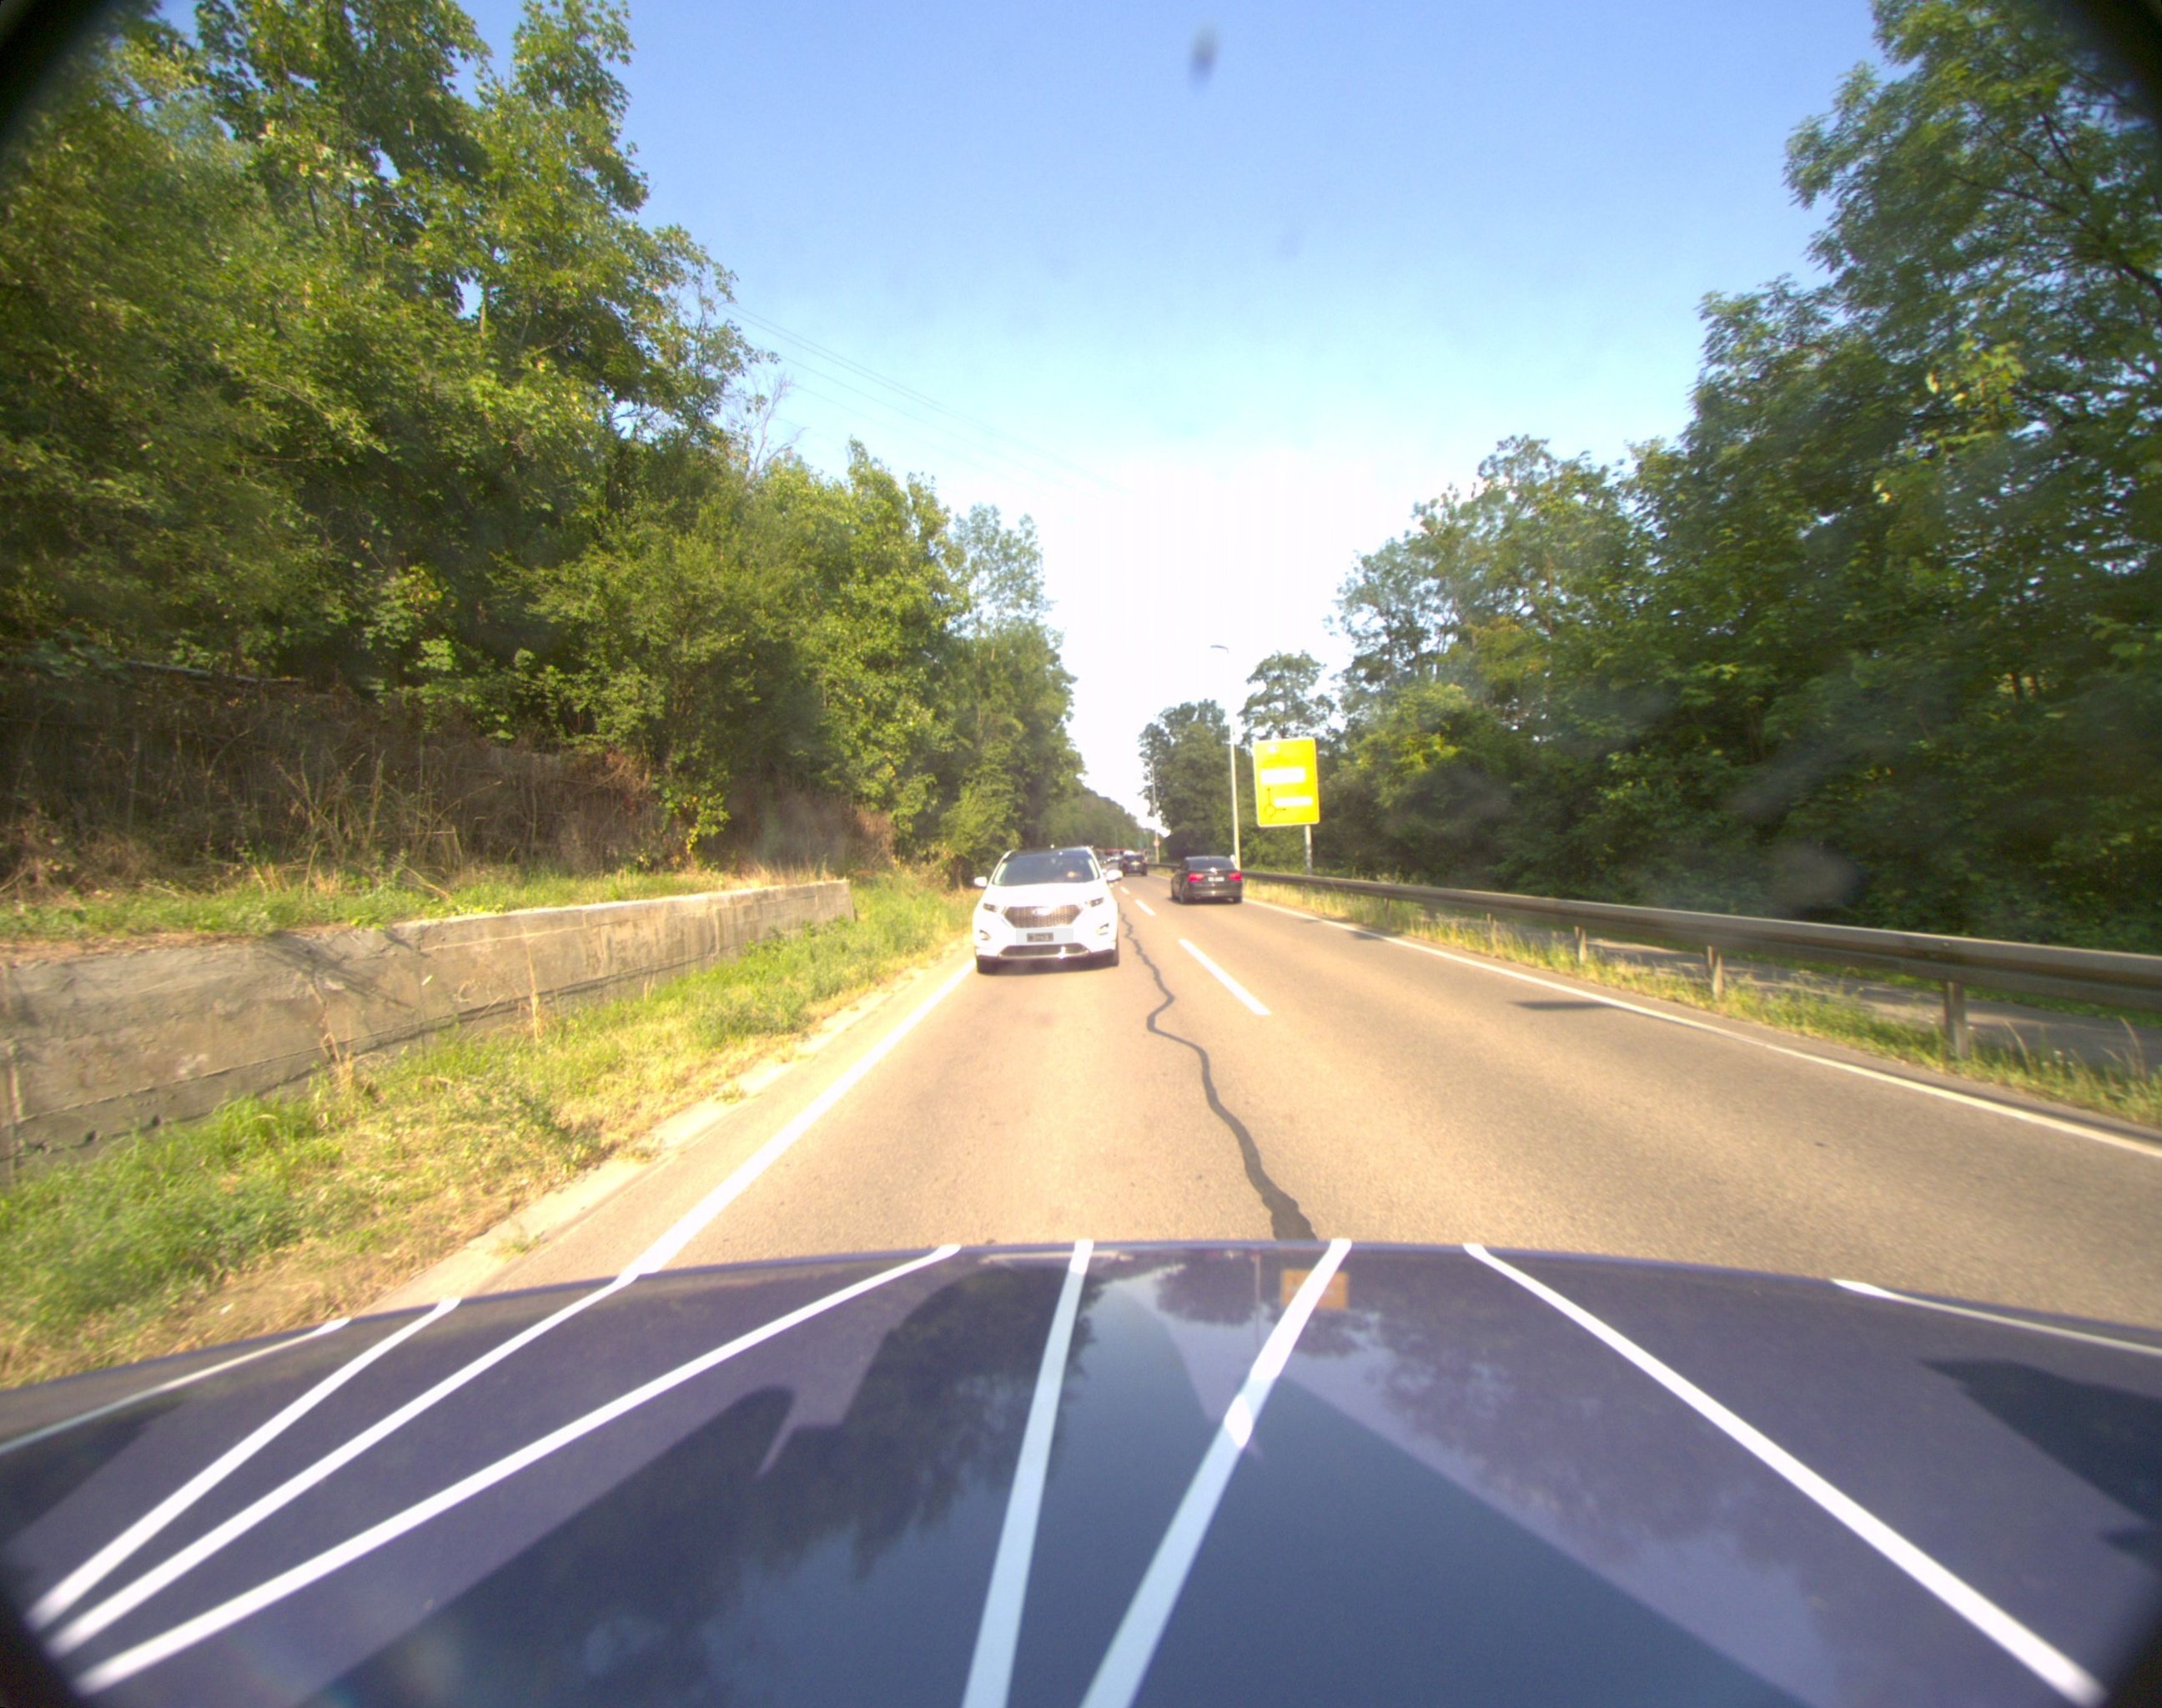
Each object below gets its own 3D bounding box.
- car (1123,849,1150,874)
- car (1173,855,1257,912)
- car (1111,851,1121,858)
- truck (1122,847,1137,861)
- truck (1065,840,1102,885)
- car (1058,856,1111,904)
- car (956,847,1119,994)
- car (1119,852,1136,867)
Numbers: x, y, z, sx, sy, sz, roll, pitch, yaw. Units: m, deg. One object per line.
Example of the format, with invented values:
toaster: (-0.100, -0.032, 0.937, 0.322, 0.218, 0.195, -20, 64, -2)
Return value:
car: (4.009, 0.544, 55.257, 1.752, 1.707, 4.221, -2, 0, 2)
car: (3.705, 0.768, 21.655, 1.696, 1.412, 4.142, -2, 0, 1)
car: (8.043, 0.086, 173.804, 1.997, 1.647, 4.002, -1, 0, 8)
truck: (8.971, 0.003, 139.961, 2.061, 2.371, 5.876, -3, 1, 8)
truck: (0.170, 0.449, 43.890, 1.894, 2.334, 5.273, -3, 0, 1)
car: (0.146, 0.858, 27.201, 1.704, 1.477, 4.136, -3, 0, 1)
car: (-0.503, 0.811, 11.372, 1.894, 1.691, 4.136, -4, 0, 1)
car: (5.089, 0.601, 82.198, 1.685, 1.434, 4.001, -2, 1, 5)
